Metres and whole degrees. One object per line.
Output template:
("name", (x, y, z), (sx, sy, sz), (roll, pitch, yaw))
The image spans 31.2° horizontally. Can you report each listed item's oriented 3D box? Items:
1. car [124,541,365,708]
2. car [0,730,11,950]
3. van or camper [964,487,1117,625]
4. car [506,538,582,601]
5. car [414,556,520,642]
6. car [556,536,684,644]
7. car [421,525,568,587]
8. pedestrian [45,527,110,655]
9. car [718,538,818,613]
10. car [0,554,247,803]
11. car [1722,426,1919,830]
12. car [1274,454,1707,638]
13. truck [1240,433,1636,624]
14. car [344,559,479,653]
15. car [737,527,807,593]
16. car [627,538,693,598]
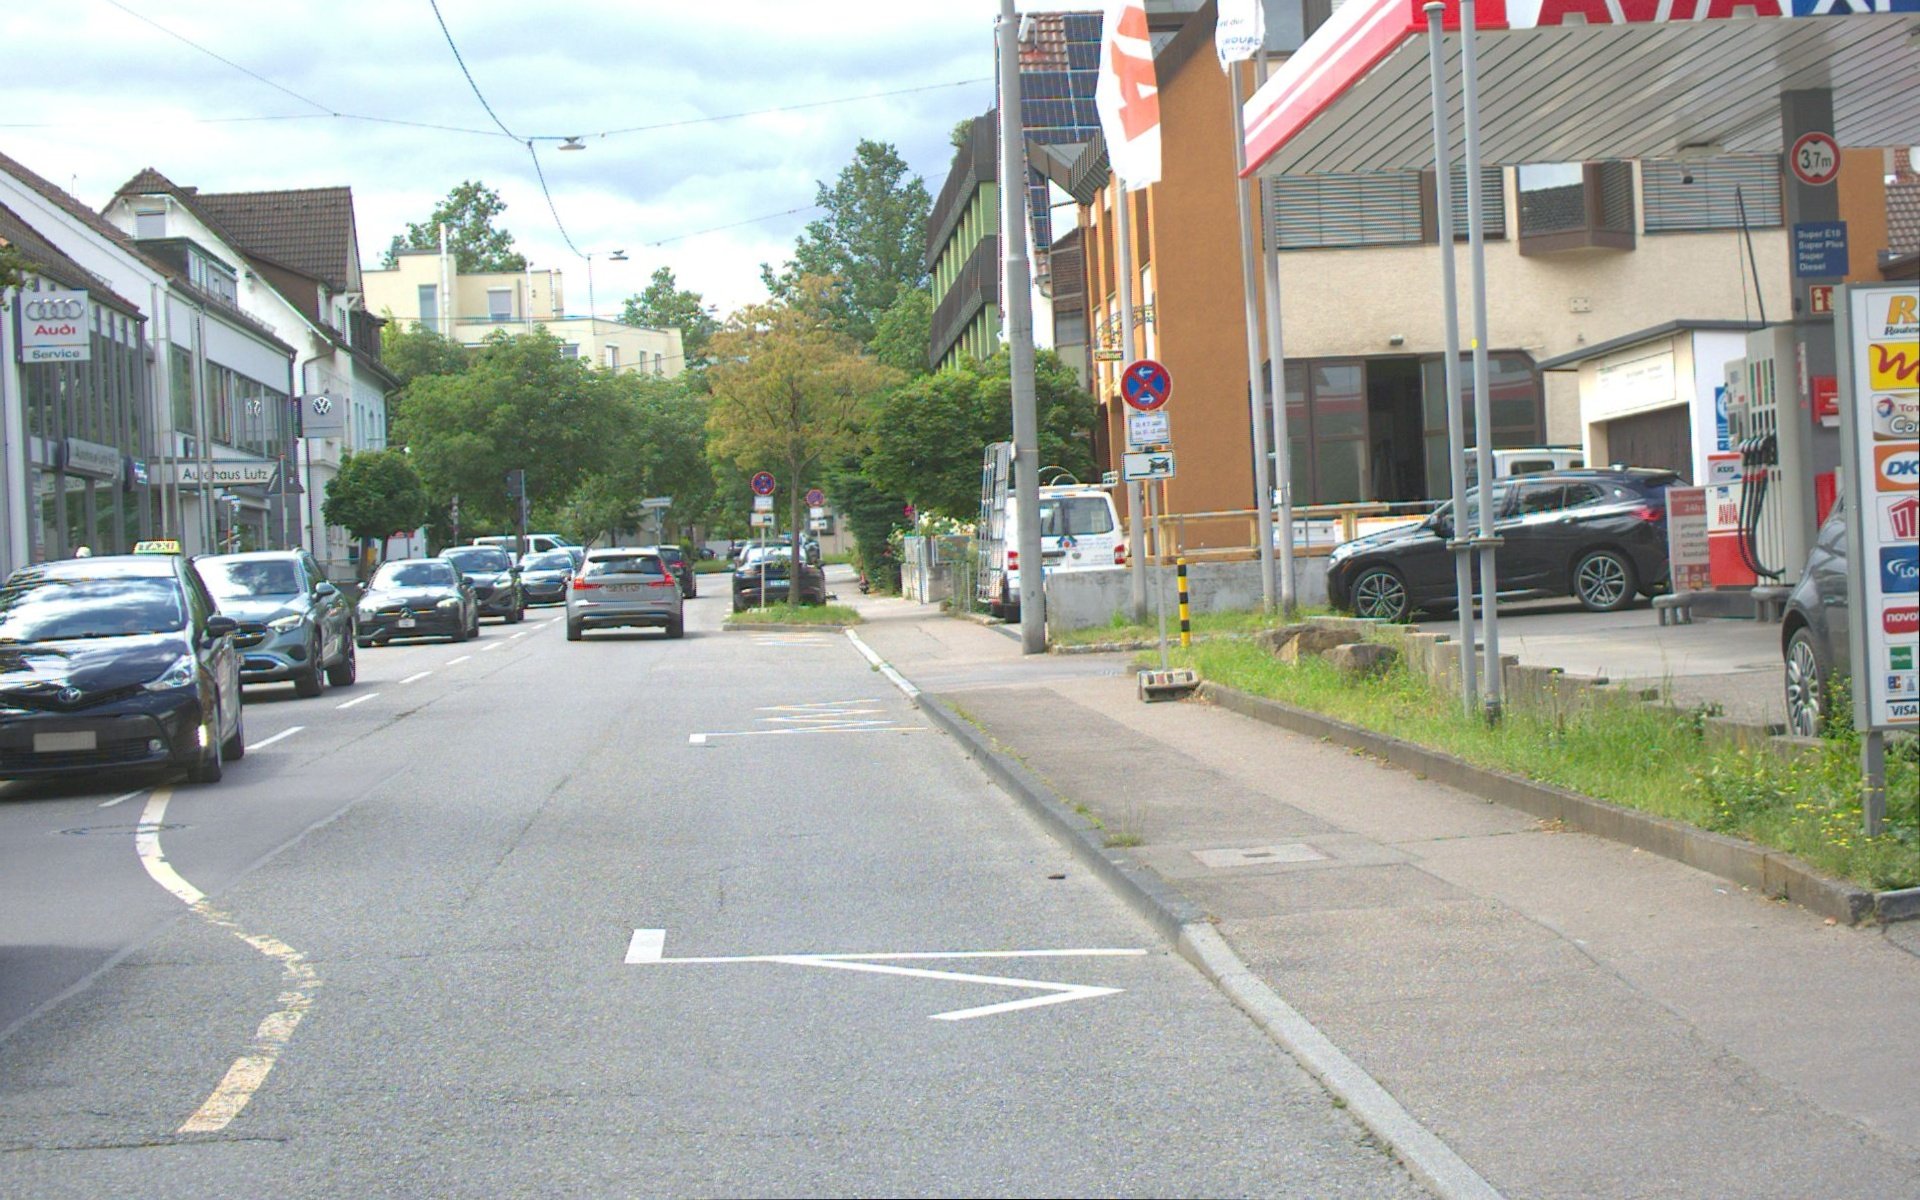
("car", (-7.973, 0.225, 38.685), (1.865, 1.612, 4.536), (-3, 2, -2))
("car", (-4.330, 0.438, 10.680), (1.908, 1.945, 4.915), (-3, 1, -7))
("van or camper", (1.204, -0.660, 53.483), (1.866, 2.025, 4.548), (-1, 0, -5))
("car", (-10.770, -0.774, 89.207), (1.831, 1.518, 4.171), (-3, 0, -6))
("car", (-10.251, -0.044, 71.726), (1.831, 1.624, 4.322), (-3, 1, -4))
("car", (-5.537, -0.136, 56.207), (1.955, 1.518, 4.329), (-2, -2, -5))
("car", (-18.387, -1.742, 135.791), (5.215, 1.986, 2.107), (-4, 1, 14))
("pedestrian", (-12.080, -0.122, 47.074), (0.682, 1.731, 0.868), (-1, 0, -4))
("car", (-4.105, -0.519, 73.289), (1.984, 1.443, 4.752), (-3, 0, -4))
("car", (-6.108, 0.488, 24.292), (1.865, 1.522, 4.529), (-3, 1, -10))
("car", (4.544, 0.014, 14.224), (1.615, 1.590, 4.160), (-8, 1, 0))
("car", (5.836, -0.584, 38.012), (4.312, 1.625, 1.633), (-5, 2, 32))
("truck", (6.662, -1.030, 48.327), (5.086, 2.449, 2.358), (-2, 2, -3))
("car", (-9.346, 0.077, 58.865), (1.740, 1.424, 4.524), (-3, 1, -3))
("car", (-5.038, -1.073, 92.586), (1.690, 1.661, 4.462), (-3, 0, -2))
("car", (-8.056, -0.845, 92.210), (1.614, 1.518, 3.570), (-3, 0, -6))
